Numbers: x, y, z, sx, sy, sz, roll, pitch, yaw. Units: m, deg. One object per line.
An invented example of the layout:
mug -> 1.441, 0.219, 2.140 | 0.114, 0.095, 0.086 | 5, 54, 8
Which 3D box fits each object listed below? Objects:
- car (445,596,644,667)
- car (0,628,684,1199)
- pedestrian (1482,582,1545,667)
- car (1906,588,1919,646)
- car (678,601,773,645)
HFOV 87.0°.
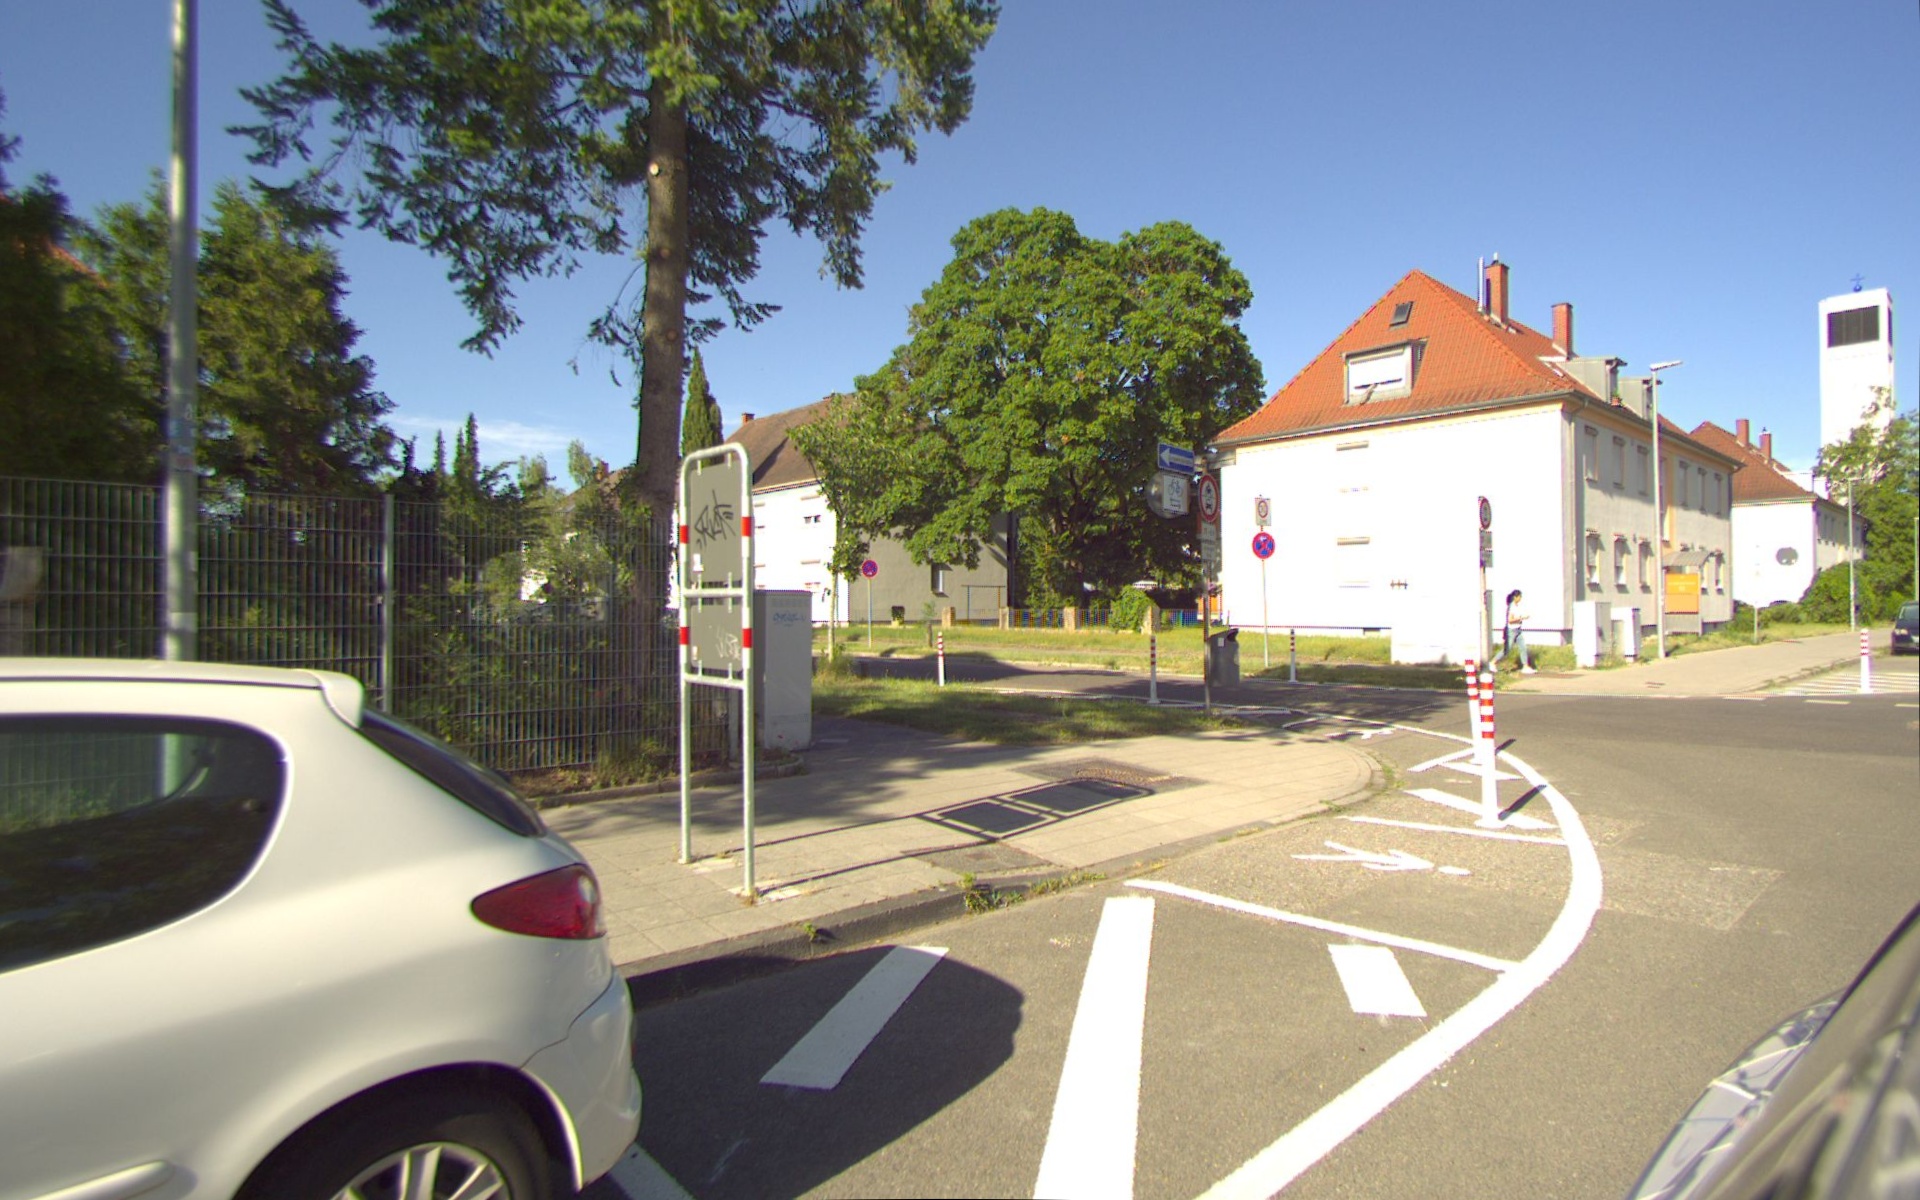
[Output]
car -> -10.112, 0.736, 24.834 | 1.837, 1.584, 4.137 | -1, -1, 45
car -> -2.552, 0.805, 1.624 | 3.712, 1.416, 1.703 | -1, -1, -42
pedestrian -> 10.995, 0.471, 20.110 | 0.754, 1.631, 0.833 | 0, -1, -37
car -> 29.556, 0.477, 30.084 | 3.994, 1.685, 1.718 | 0, 0, -42
car -> -8.455, 0.788, 36.350 | 1.710, 1.498, 3.716 | 0, 0, -44
